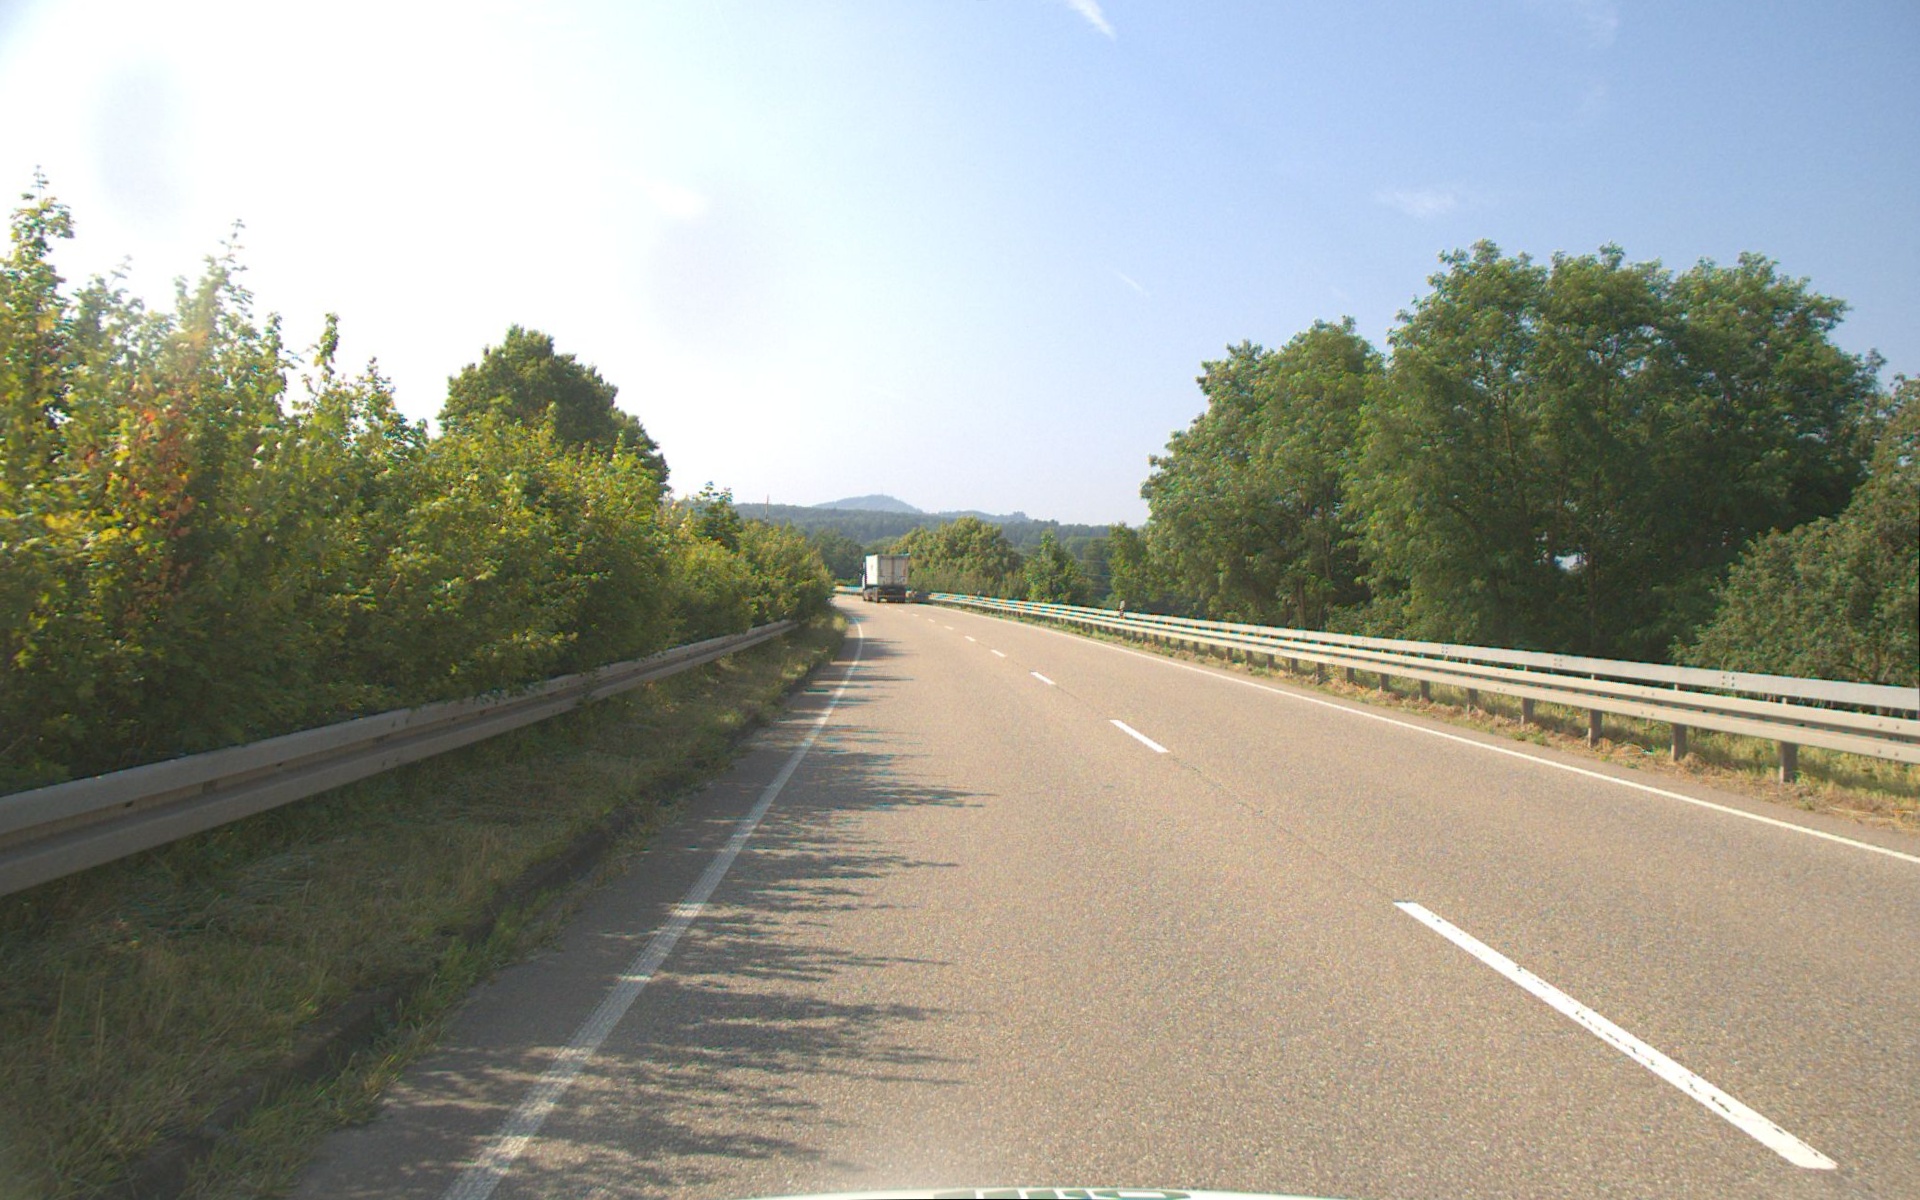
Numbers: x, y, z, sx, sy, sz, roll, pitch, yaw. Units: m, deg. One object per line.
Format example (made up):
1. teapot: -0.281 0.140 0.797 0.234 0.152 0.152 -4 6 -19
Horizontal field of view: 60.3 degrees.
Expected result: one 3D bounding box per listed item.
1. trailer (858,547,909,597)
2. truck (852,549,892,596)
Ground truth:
1. trailer: -6.408 -2.332 137.144 2.632 3.975 9.644 0 1 -12
2. truck: -7.623 -2.417 143.076 2.612 3.964 5.632 1 1 -12
